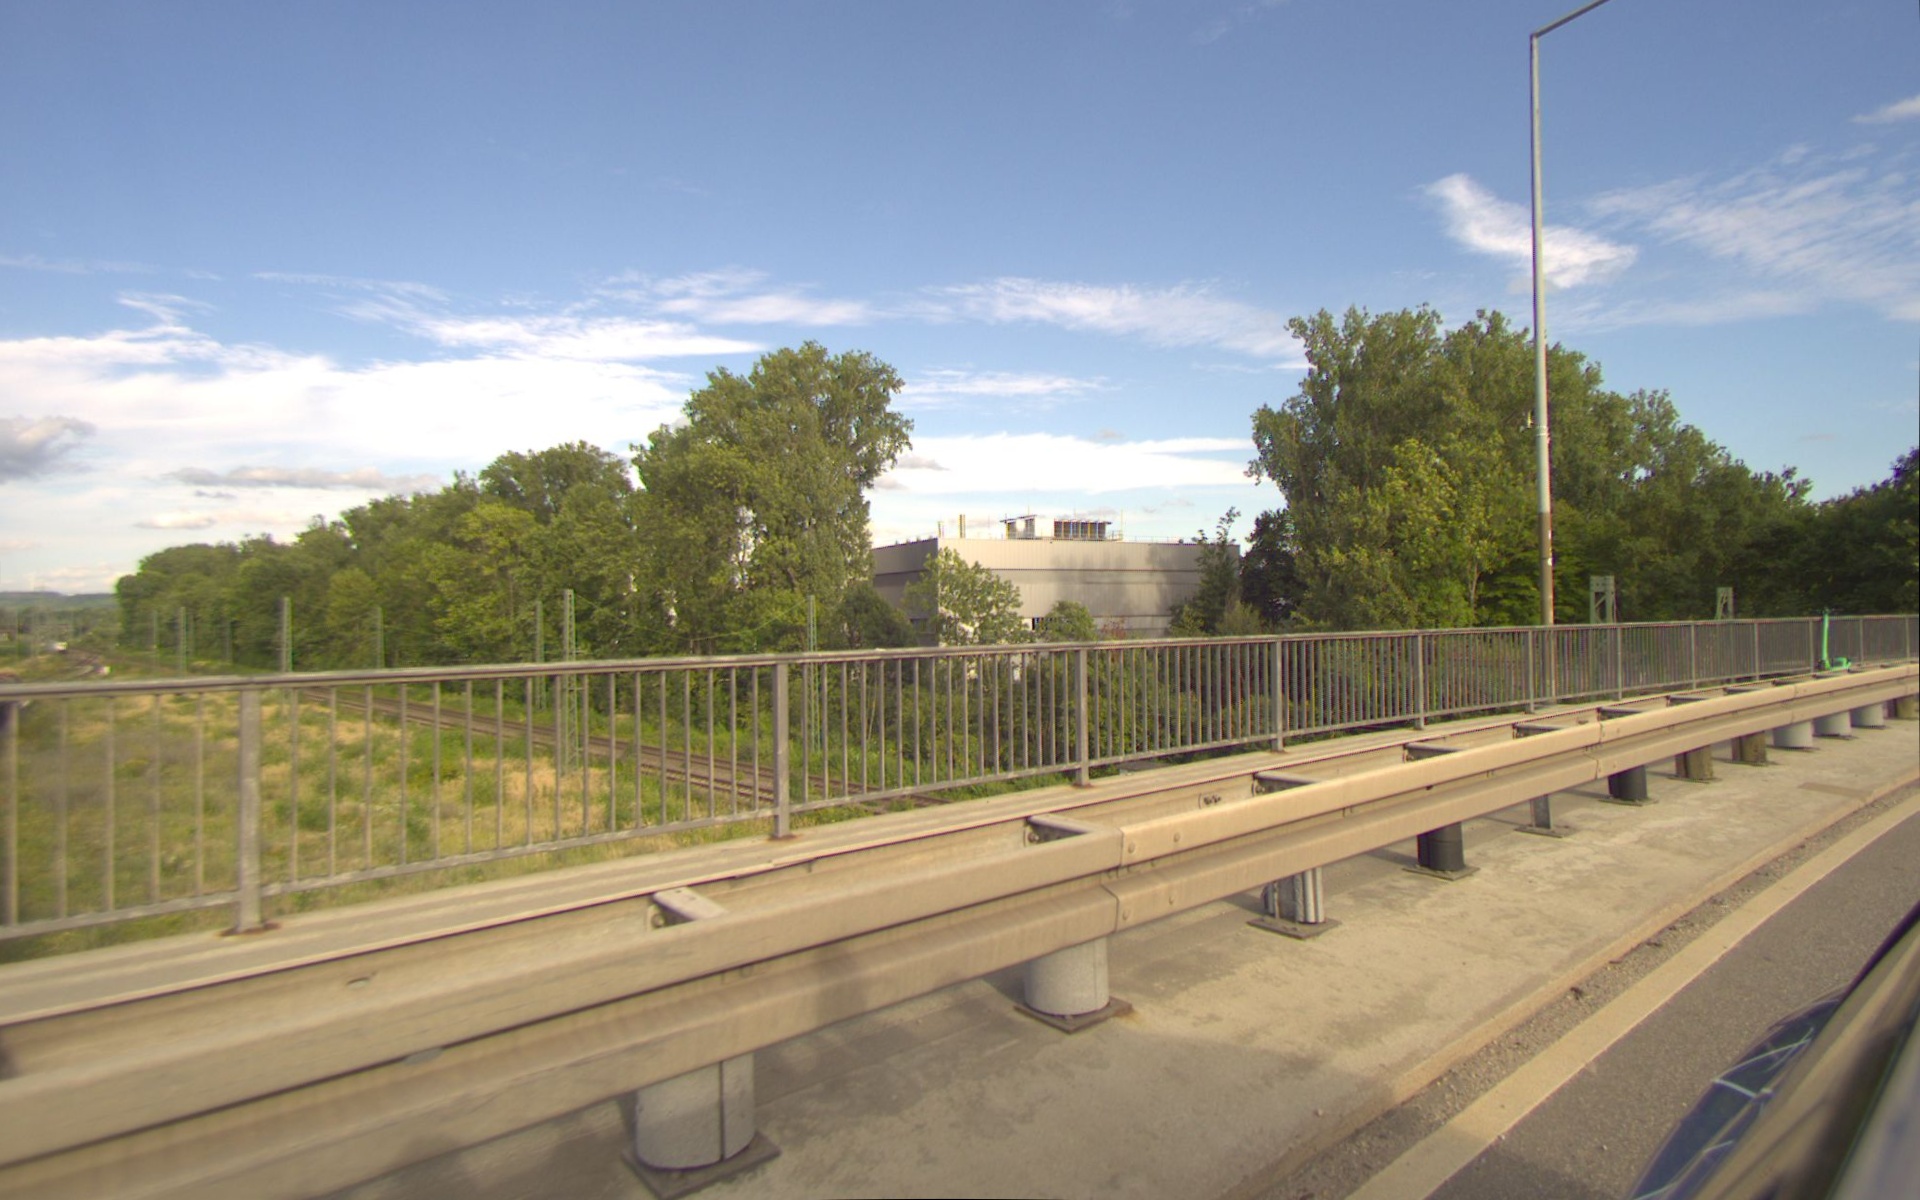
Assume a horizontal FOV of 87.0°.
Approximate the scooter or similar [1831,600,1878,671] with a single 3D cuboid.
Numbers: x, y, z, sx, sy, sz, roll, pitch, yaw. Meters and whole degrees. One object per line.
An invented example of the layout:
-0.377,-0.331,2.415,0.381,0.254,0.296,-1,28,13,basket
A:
15.468,0.602,17.501,1.165,1.176,0.266,0,1,-32,scooter or similar
